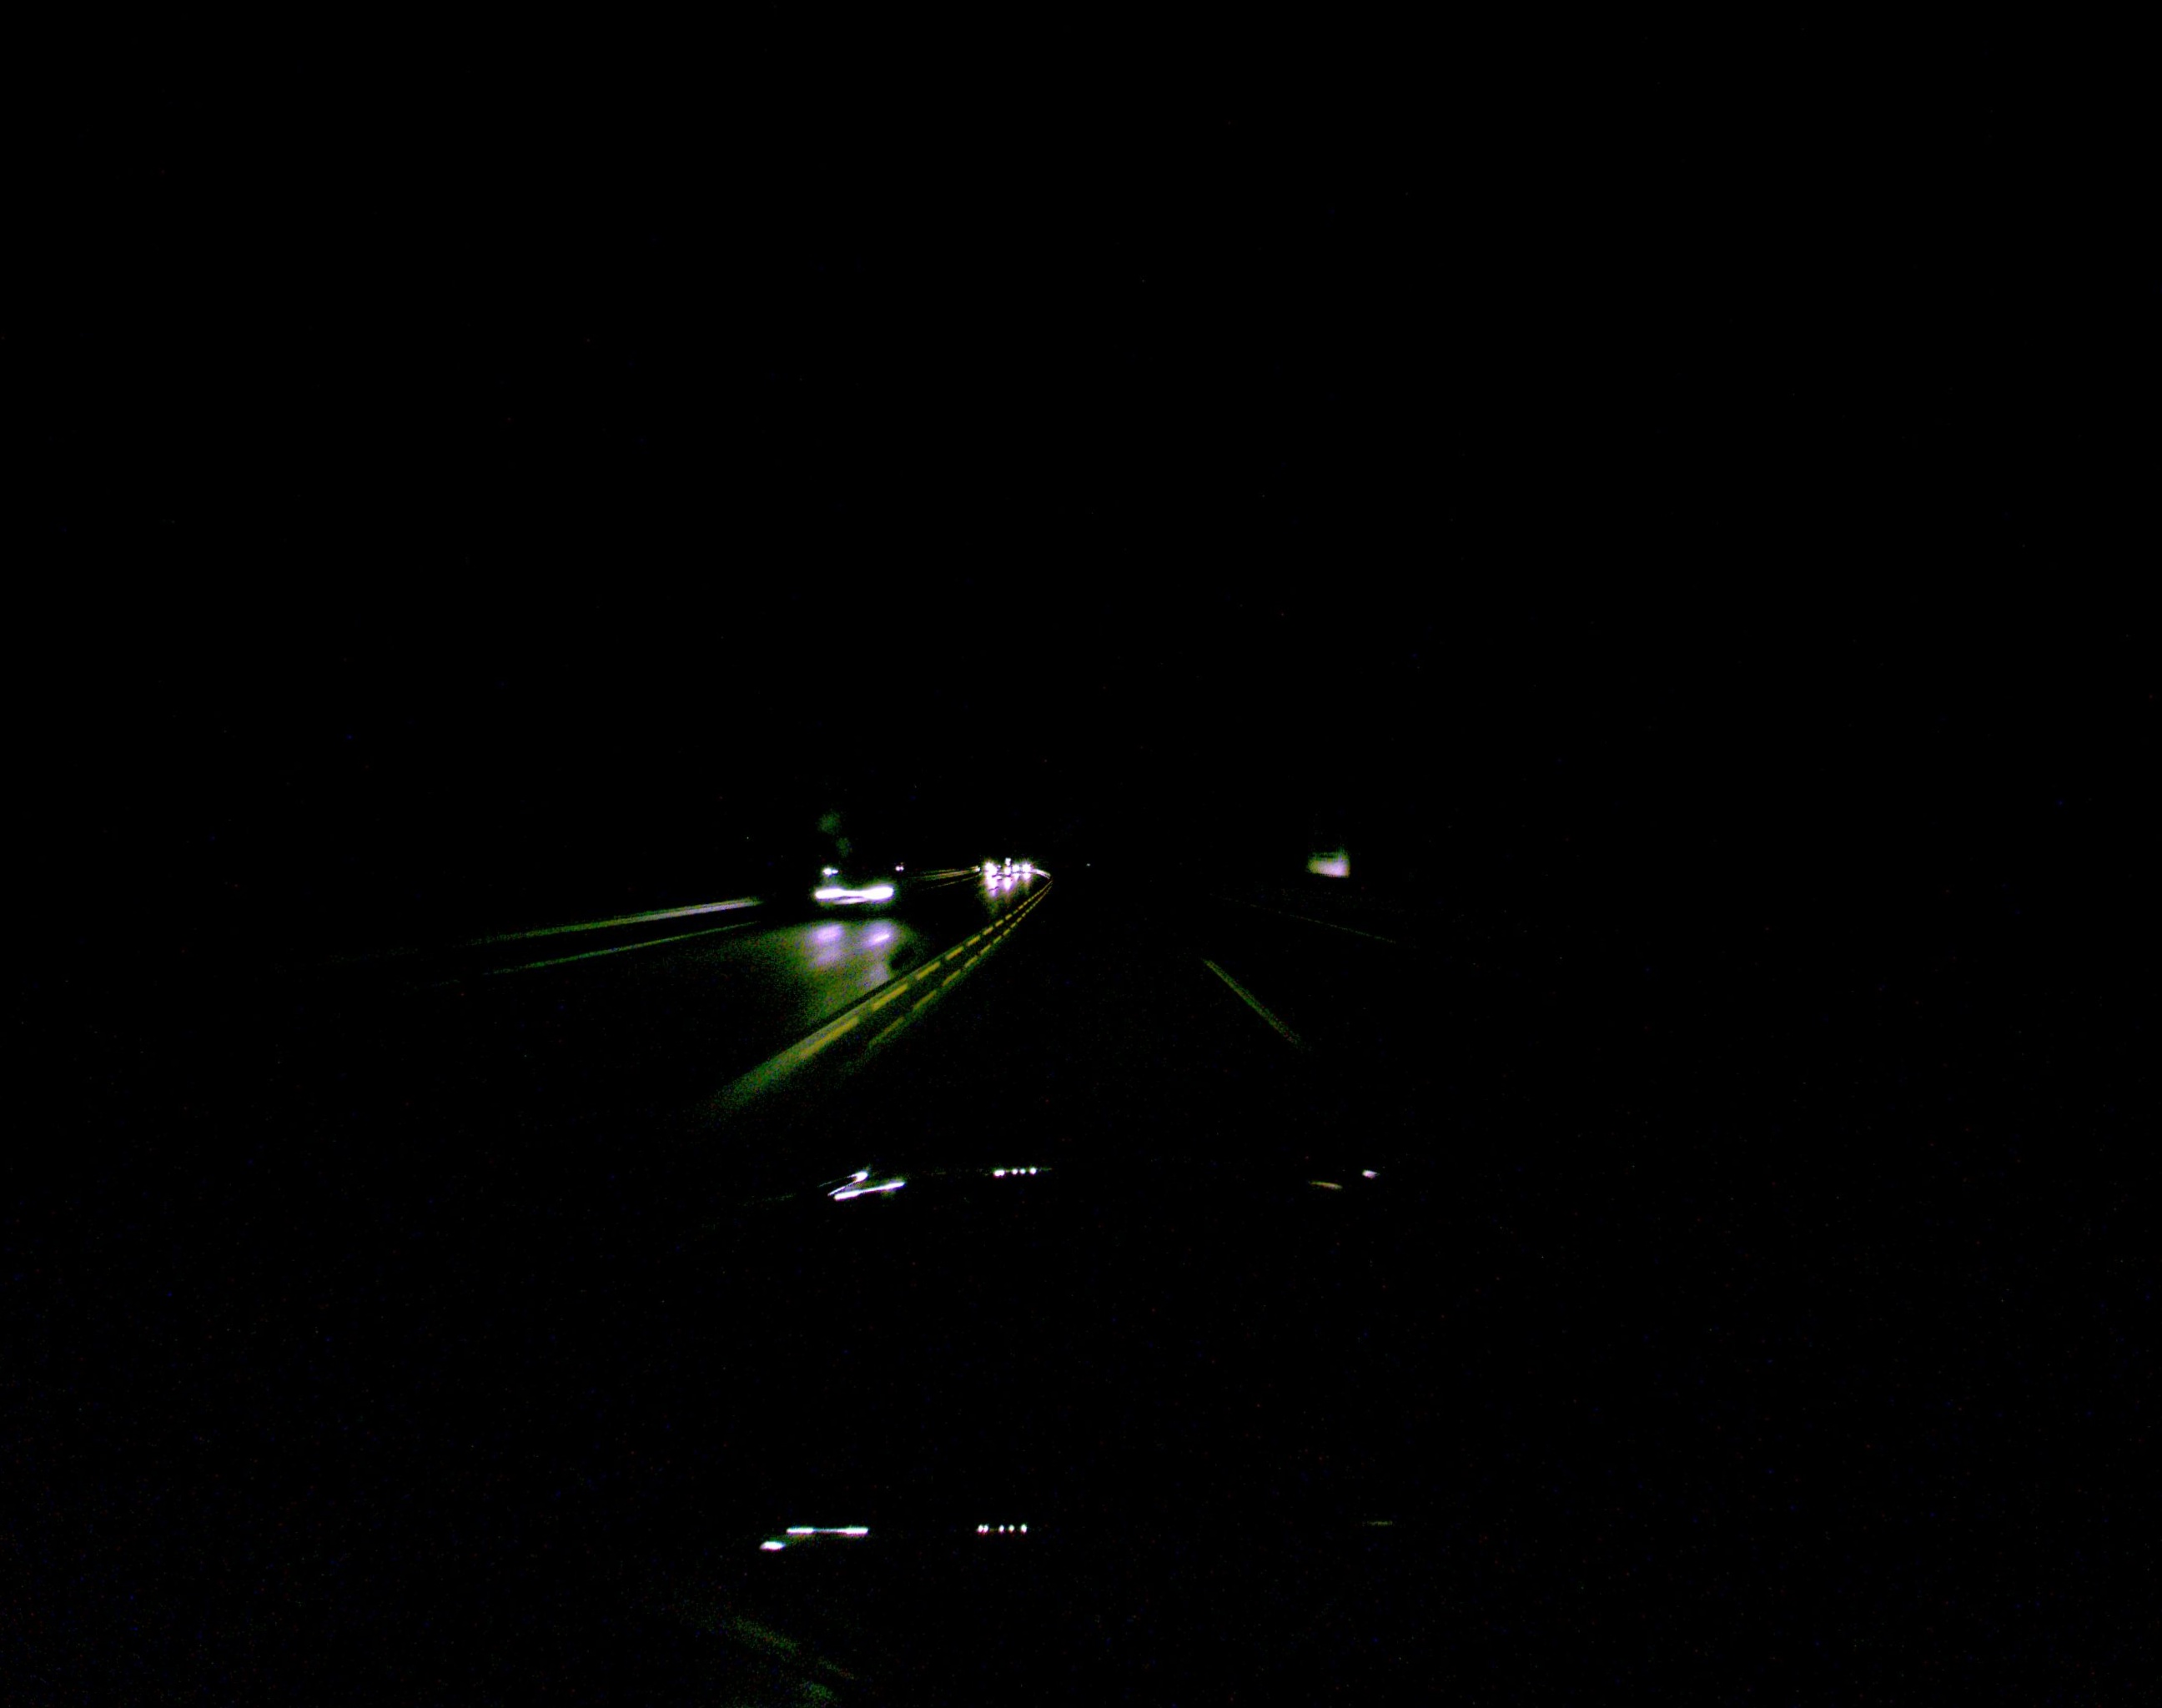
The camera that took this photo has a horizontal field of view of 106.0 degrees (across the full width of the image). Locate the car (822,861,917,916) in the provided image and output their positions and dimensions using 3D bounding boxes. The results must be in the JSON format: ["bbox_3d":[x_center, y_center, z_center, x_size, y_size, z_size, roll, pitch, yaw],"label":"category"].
[{"bbox_3d":[-6.220,0.977,24.451,1.707,1.443,4.484,-2,-1,-1],"label":"car"}]

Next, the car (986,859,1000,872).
[{"bbox_3d":[-13.937,1.852,129.259,1.992,2.014,5.571,-2,-1,-8],"label":"car"}]

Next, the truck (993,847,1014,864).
[{"bbox_3d":[-22.435,0.493,235.397,4.018,4.552,13.885,-2,-1,-14],"label":"truck"}]

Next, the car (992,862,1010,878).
[{"bbox_3d":[-7.616,1.519,77.570,1.714,1.380,4.234,-1,-1,-6],"label":"car"}]

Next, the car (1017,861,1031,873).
[{"bbox_3d":[-7.431,1.731,106.098,1.650,1.469,3.990,-2,-1,-7],"label":"car"}]
